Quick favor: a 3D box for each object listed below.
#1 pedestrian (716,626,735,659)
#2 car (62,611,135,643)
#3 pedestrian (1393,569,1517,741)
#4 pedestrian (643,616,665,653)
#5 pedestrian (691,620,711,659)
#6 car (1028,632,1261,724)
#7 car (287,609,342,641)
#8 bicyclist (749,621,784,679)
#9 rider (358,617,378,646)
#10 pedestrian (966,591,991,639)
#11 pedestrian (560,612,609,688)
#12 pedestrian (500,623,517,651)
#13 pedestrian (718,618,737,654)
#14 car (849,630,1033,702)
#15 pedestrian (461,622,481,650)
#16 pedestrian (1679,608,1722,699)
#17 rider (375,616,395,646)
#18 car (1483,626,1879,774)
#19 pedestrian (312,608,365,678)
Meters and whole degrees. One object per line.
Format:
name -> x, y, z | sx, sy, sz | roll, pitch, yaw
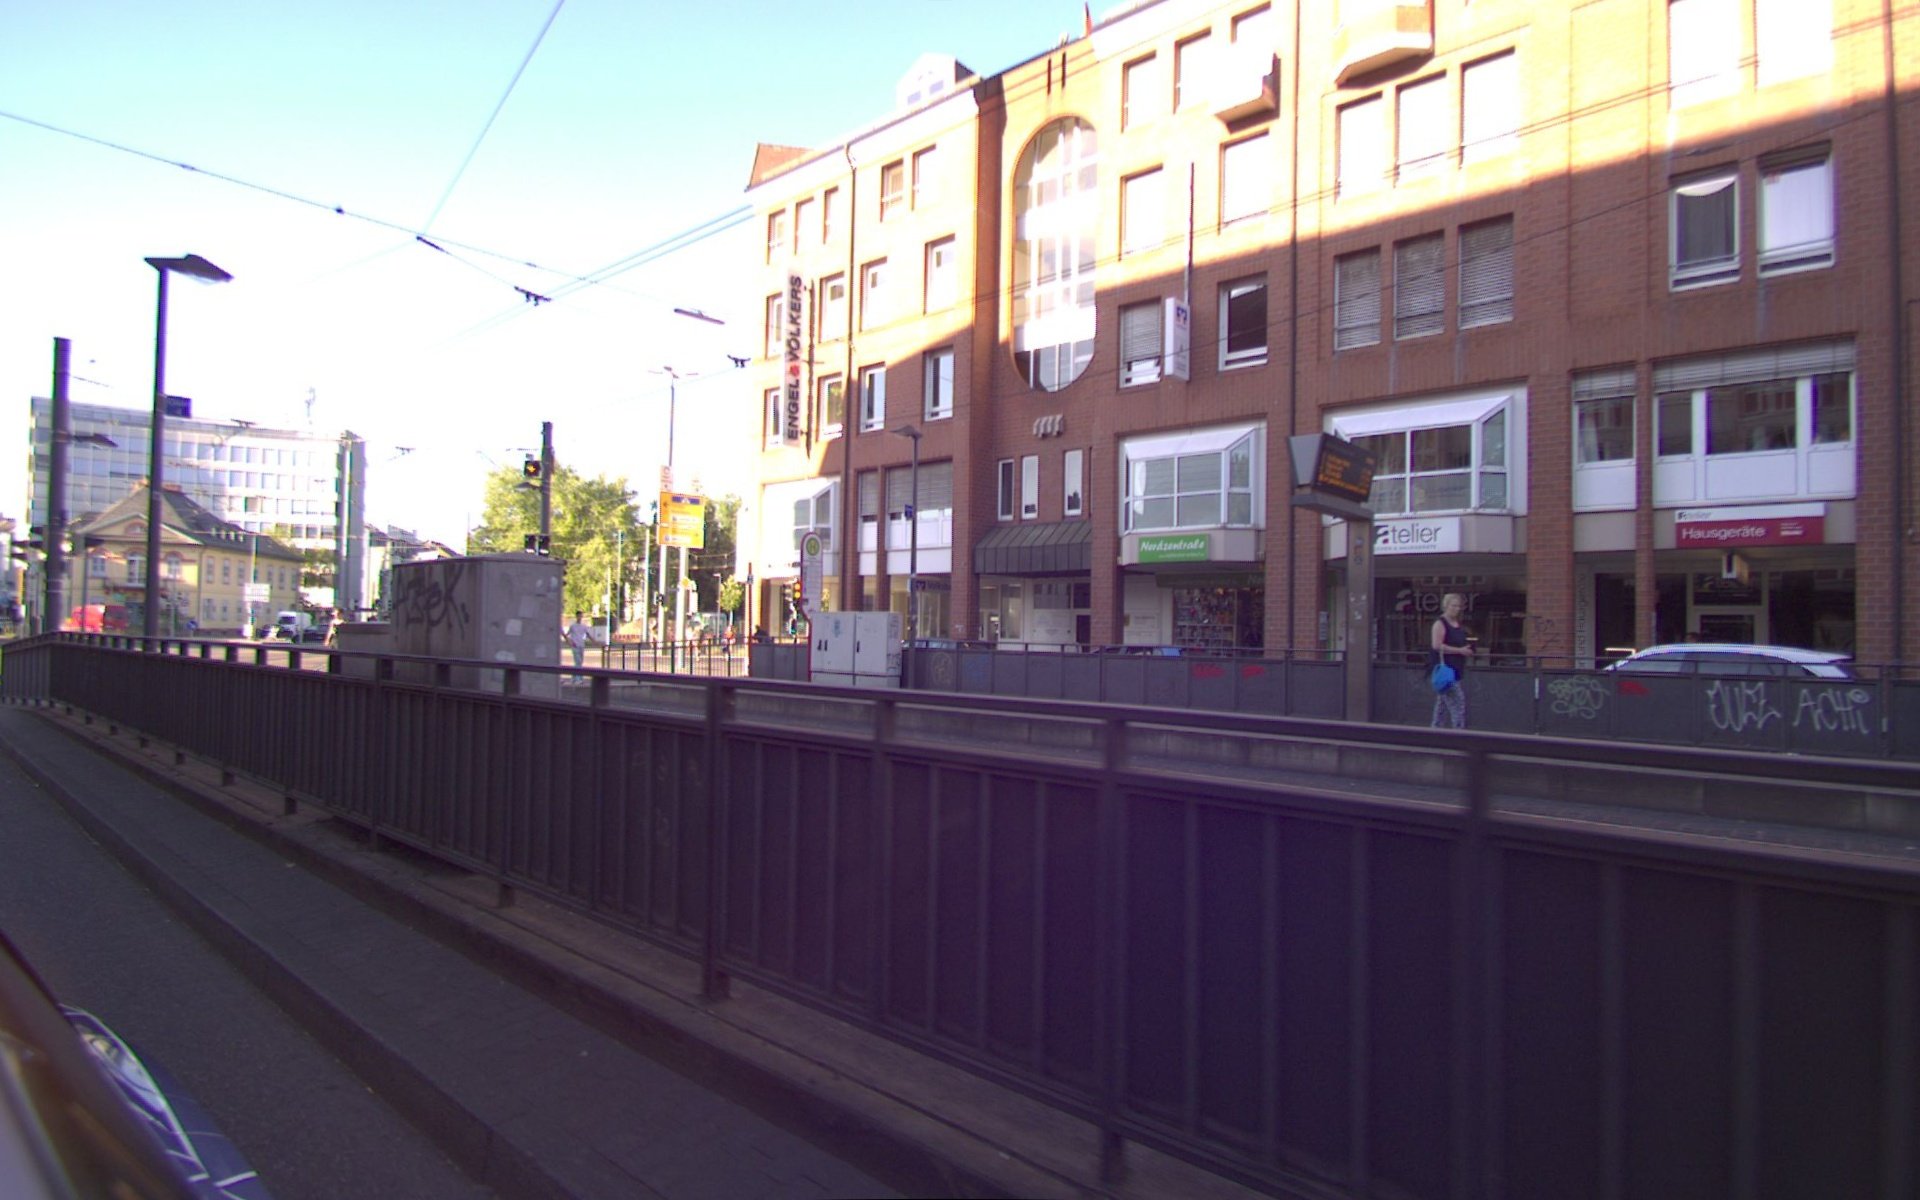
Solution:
pedestrian -> -11.231, 2.011, 48.548 | 0.847, 1.522, 0.813 | -1, 0, -11
car -> -68.869, 2.179, 80.878 | 5.393, 2.474, 2.521 | -1, -1, 26
pedestrian -> 5.159, 0.545, 10.538 | 0.967, 1.674, 0.902 | 0, -2, 41
pedestrian -> -17.211, 1.938, 56.984 | 0.857, 2.029, 0.804 | -1, 0, 27
pedestrian -> -12.265, 1.874, 48.010 | 0.847, 1.780, 0.813 | -1, 0, -11
car -> 3.591, 1.469, 20.076 | 4.194, 1.612, 1.873 | -1, -3, 41
car -> -65.999, 2.546, 103.563 | 2.501, 3.071, 6.389 | 3, -2, -12
bicyclist -> -6.112, 1.559, 31.953 | 0.810, 1.780, 0.729 | 0, 0, 39
rider -> -41.695, 2.201, 71.292 | 0.997, 2.029, 1.023 | -1, 0, -15
pedestrian -> 0.668, 0.540, 35.969 | 0.637, 1.674, 0.605 | 0, -2, 41
pedestrian -> -9.099, 1.188, 24.548 | 0.848, 1.780, 0.812 | -1, 0, -43
pedestrian -> -33.843, 2.777, 75.864 | 0.997, 2.029, 0.992 | -1, 0, -15
pedestrian -> -13.140, 2.030, 57.187 | 0.849, 2.029, 0.811 | -1, 0, 1
car -> -0.495, 1.514, 23.852 | 4.117, 1.541, 1.882 | -1, -4, 41
pedestrian -> -35.789, 2.630, 74.046 | 1.058, 2.029, 0.990 | -1, 1, -44
pedestrian -> 13.966, 0.999, 19.097 | 0.636, 1.674, 0.605 | 0, -2, 36
rider -> -40.573, 2.193, 71.449 | 0.997, 2.029, 0.992 | -1, 0, -15
car -> 9.928, 1.267, 14.156 | 4.290, 1.606, 1.889 | 1, -2, 42
pedestrian -> -16.566, 1.125, 26.990 | 0.852, 1.817, 0.808 | -1, 0, 13
